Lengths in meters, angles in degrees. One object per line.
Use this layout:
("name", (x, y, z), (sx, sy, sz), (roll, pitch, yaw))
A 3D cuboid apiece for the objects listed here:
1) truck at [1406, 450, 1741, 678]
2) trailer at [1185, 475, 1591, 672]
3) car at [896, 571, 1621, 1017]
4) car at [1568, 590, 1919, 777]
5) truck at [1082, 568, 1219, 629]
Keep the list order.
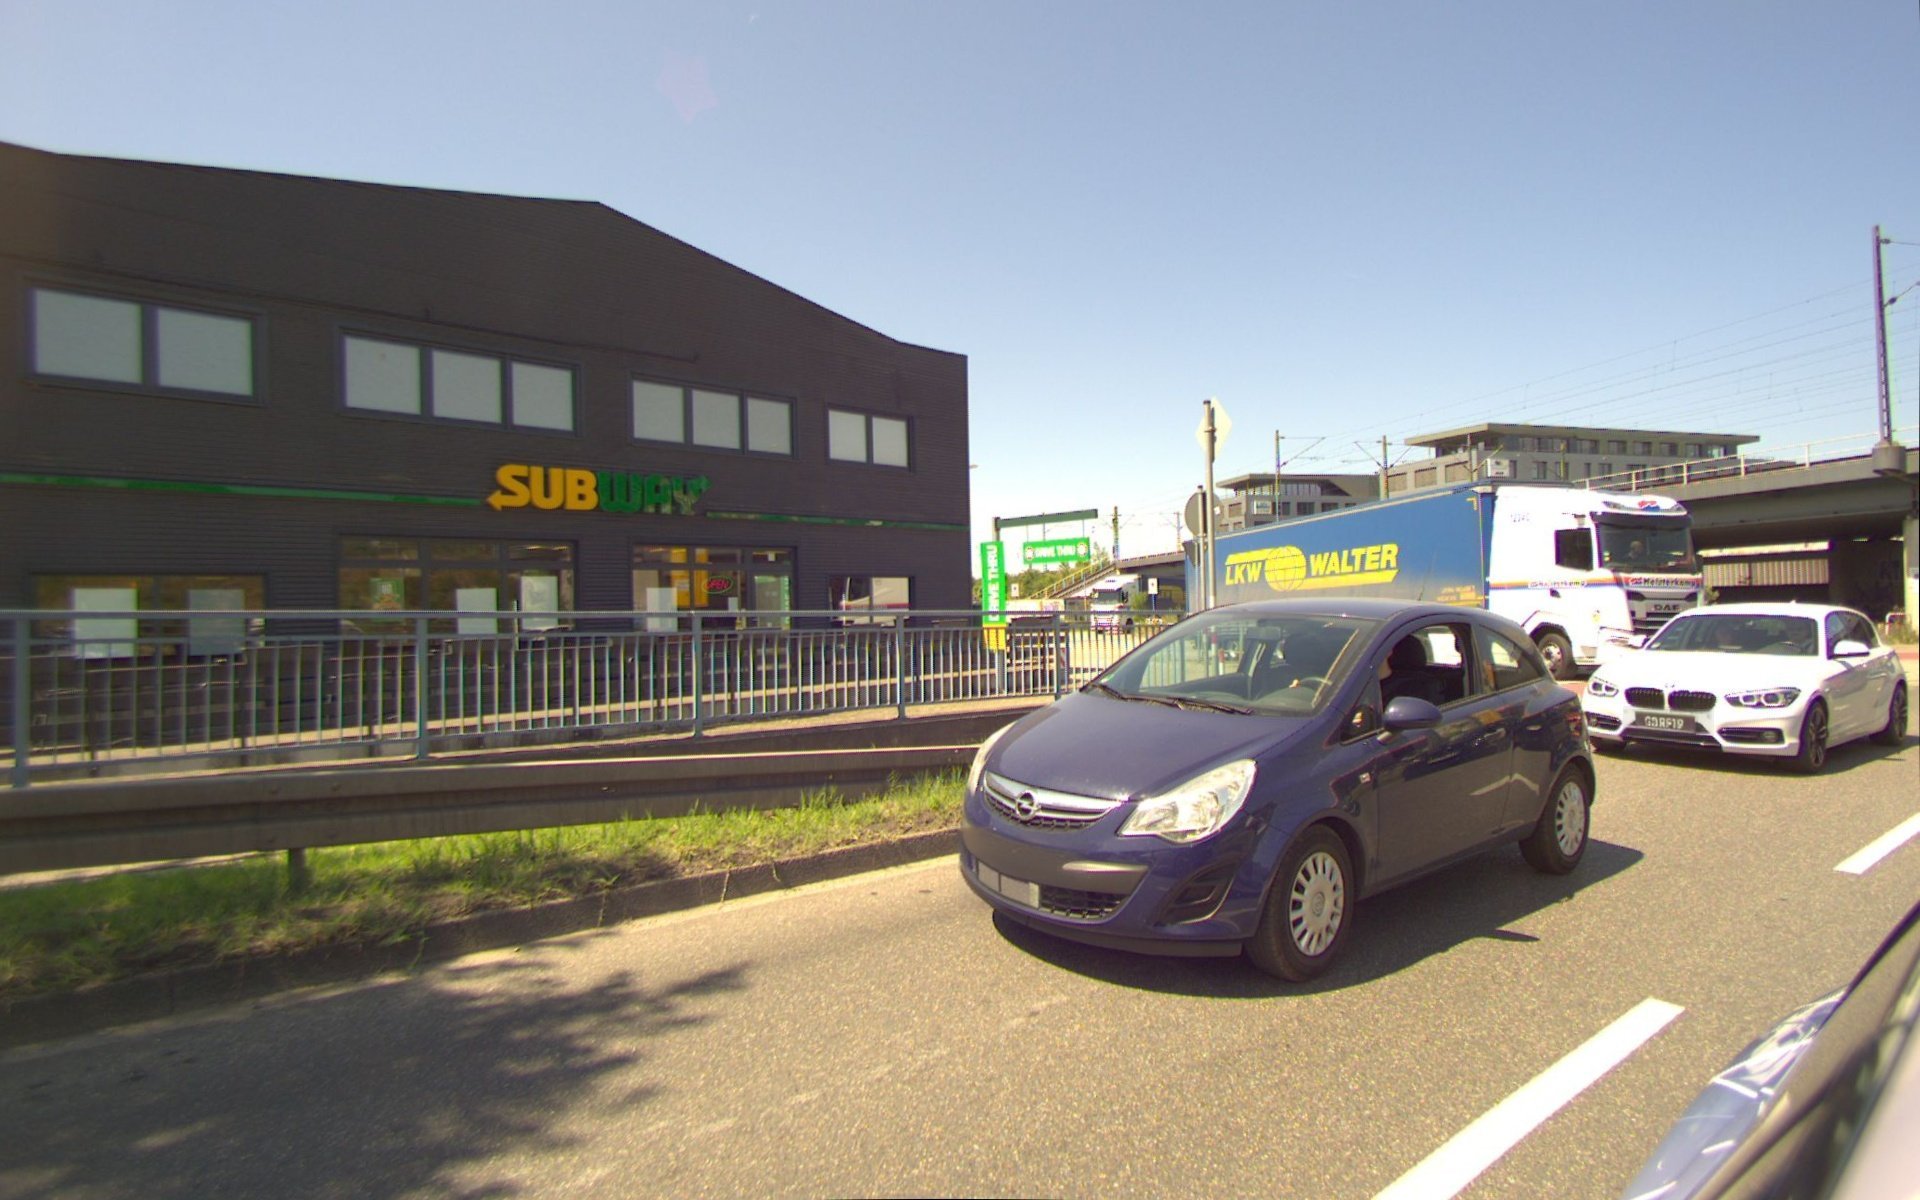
("truck", (12.625, -0.610, 21.494), (2.522, 4.155, 5.772), (-1, -1, -16))
("trailer", (10.700, -0.463, 28.384), (2.448, 4.143, 13.930), (-1, -1, -14))
("car", (1.708, 0.648, 5.166), (3.819, 1.462, 1.650), (0, -1, -38))
("car", (7.874, 0.659, 9.979), (3.975, 1.461, 1.764), (0, 1, -35))
("truck", (14.750, -0.196, 76.151), (2.737, 4.155, 17.209), (-1, 0, 37))
